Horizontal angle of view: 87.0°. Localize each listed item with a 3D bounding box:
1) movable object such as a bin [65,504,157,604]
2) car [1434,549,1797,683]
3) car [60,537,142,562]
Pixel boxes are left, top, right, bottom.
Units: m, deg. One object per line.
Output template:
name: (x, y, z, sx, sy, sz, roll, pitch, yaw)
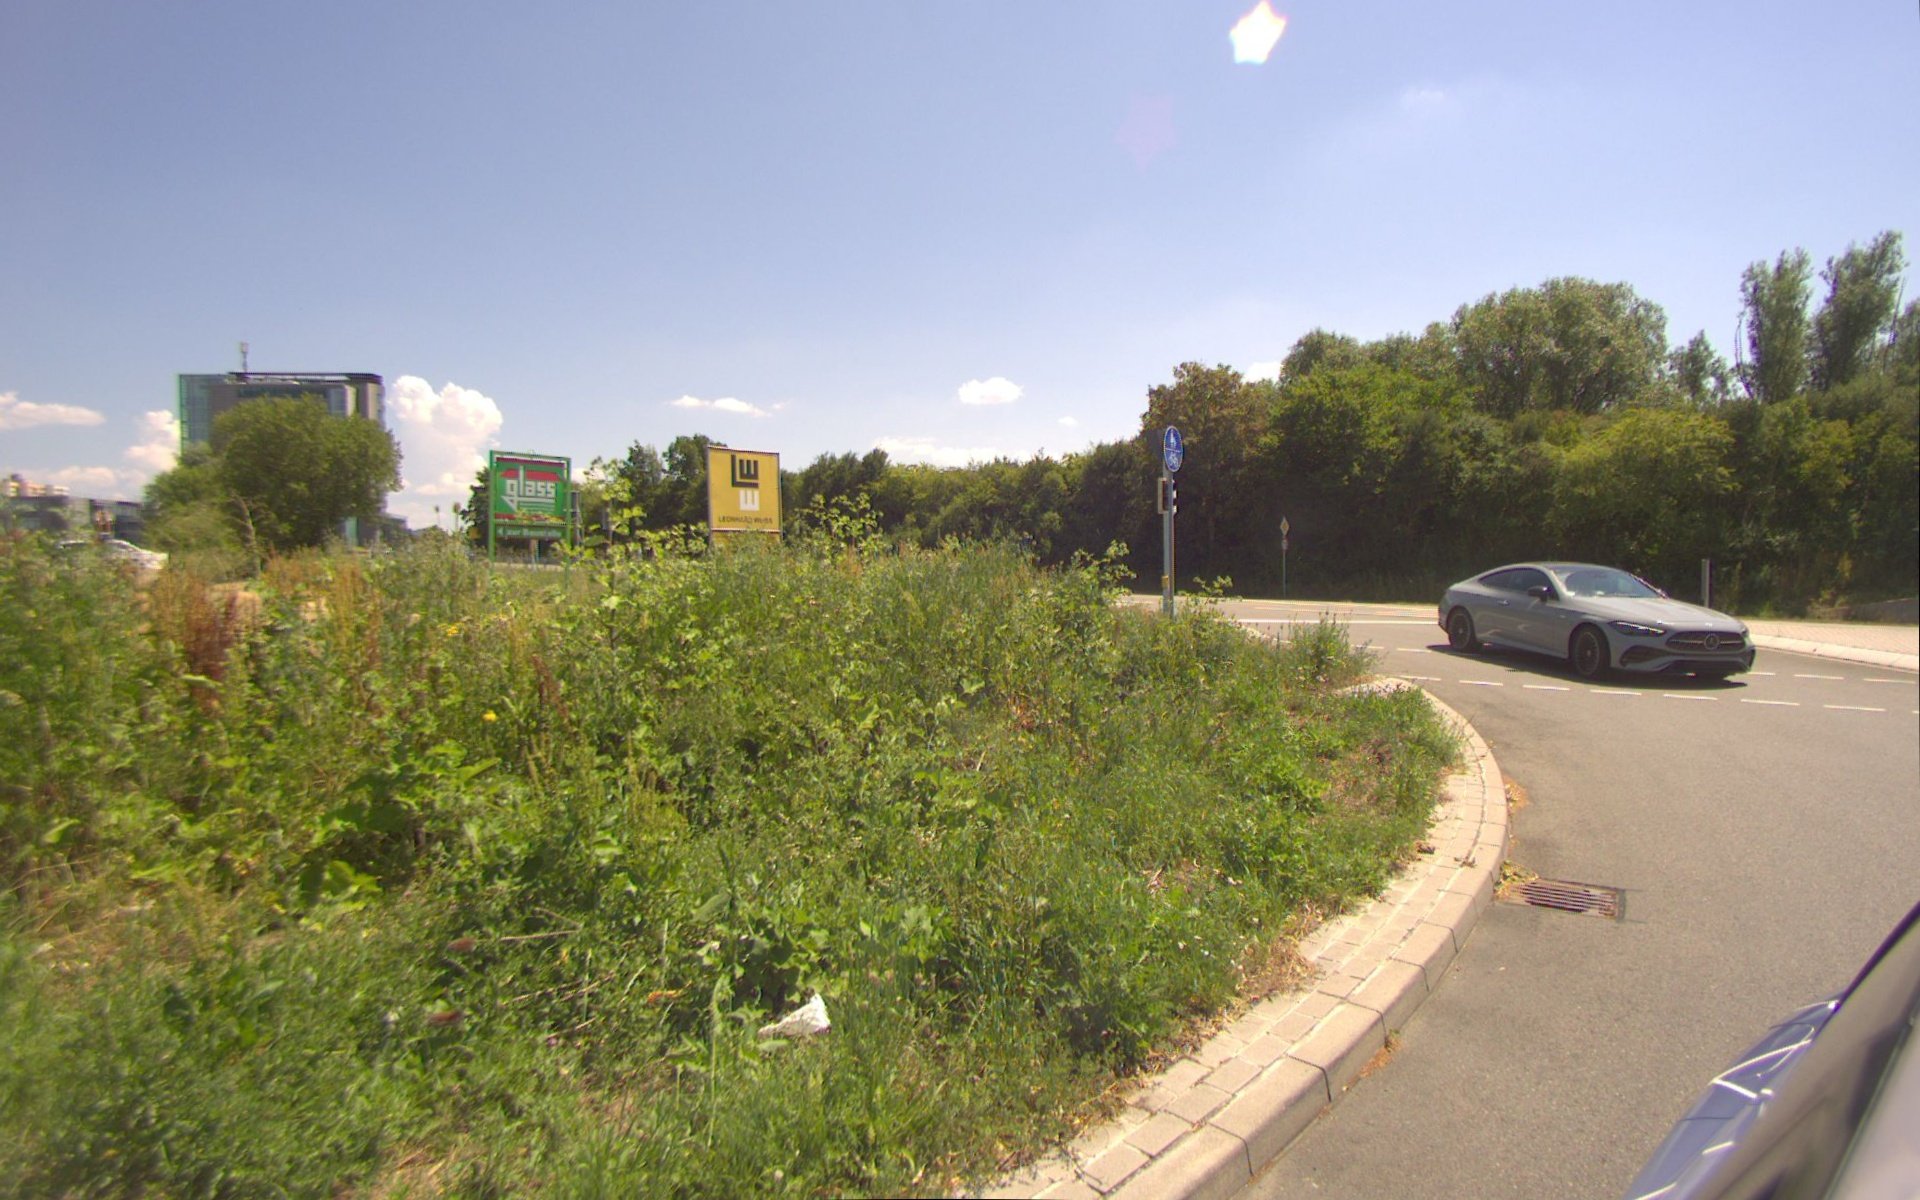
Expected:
movable object such as a bin: (-38.278, -2.151, 45.581, 2.936, 4.093, 8.096, 0, 4, -41)
car: (8.796, 0.080, 14.189, 1.885, 1.459, 4.489, 0, 4, -4)
car: (-55.638, -3.289, 65.647, 3.929, 1.548, 1.874, -3, 3, -39)
